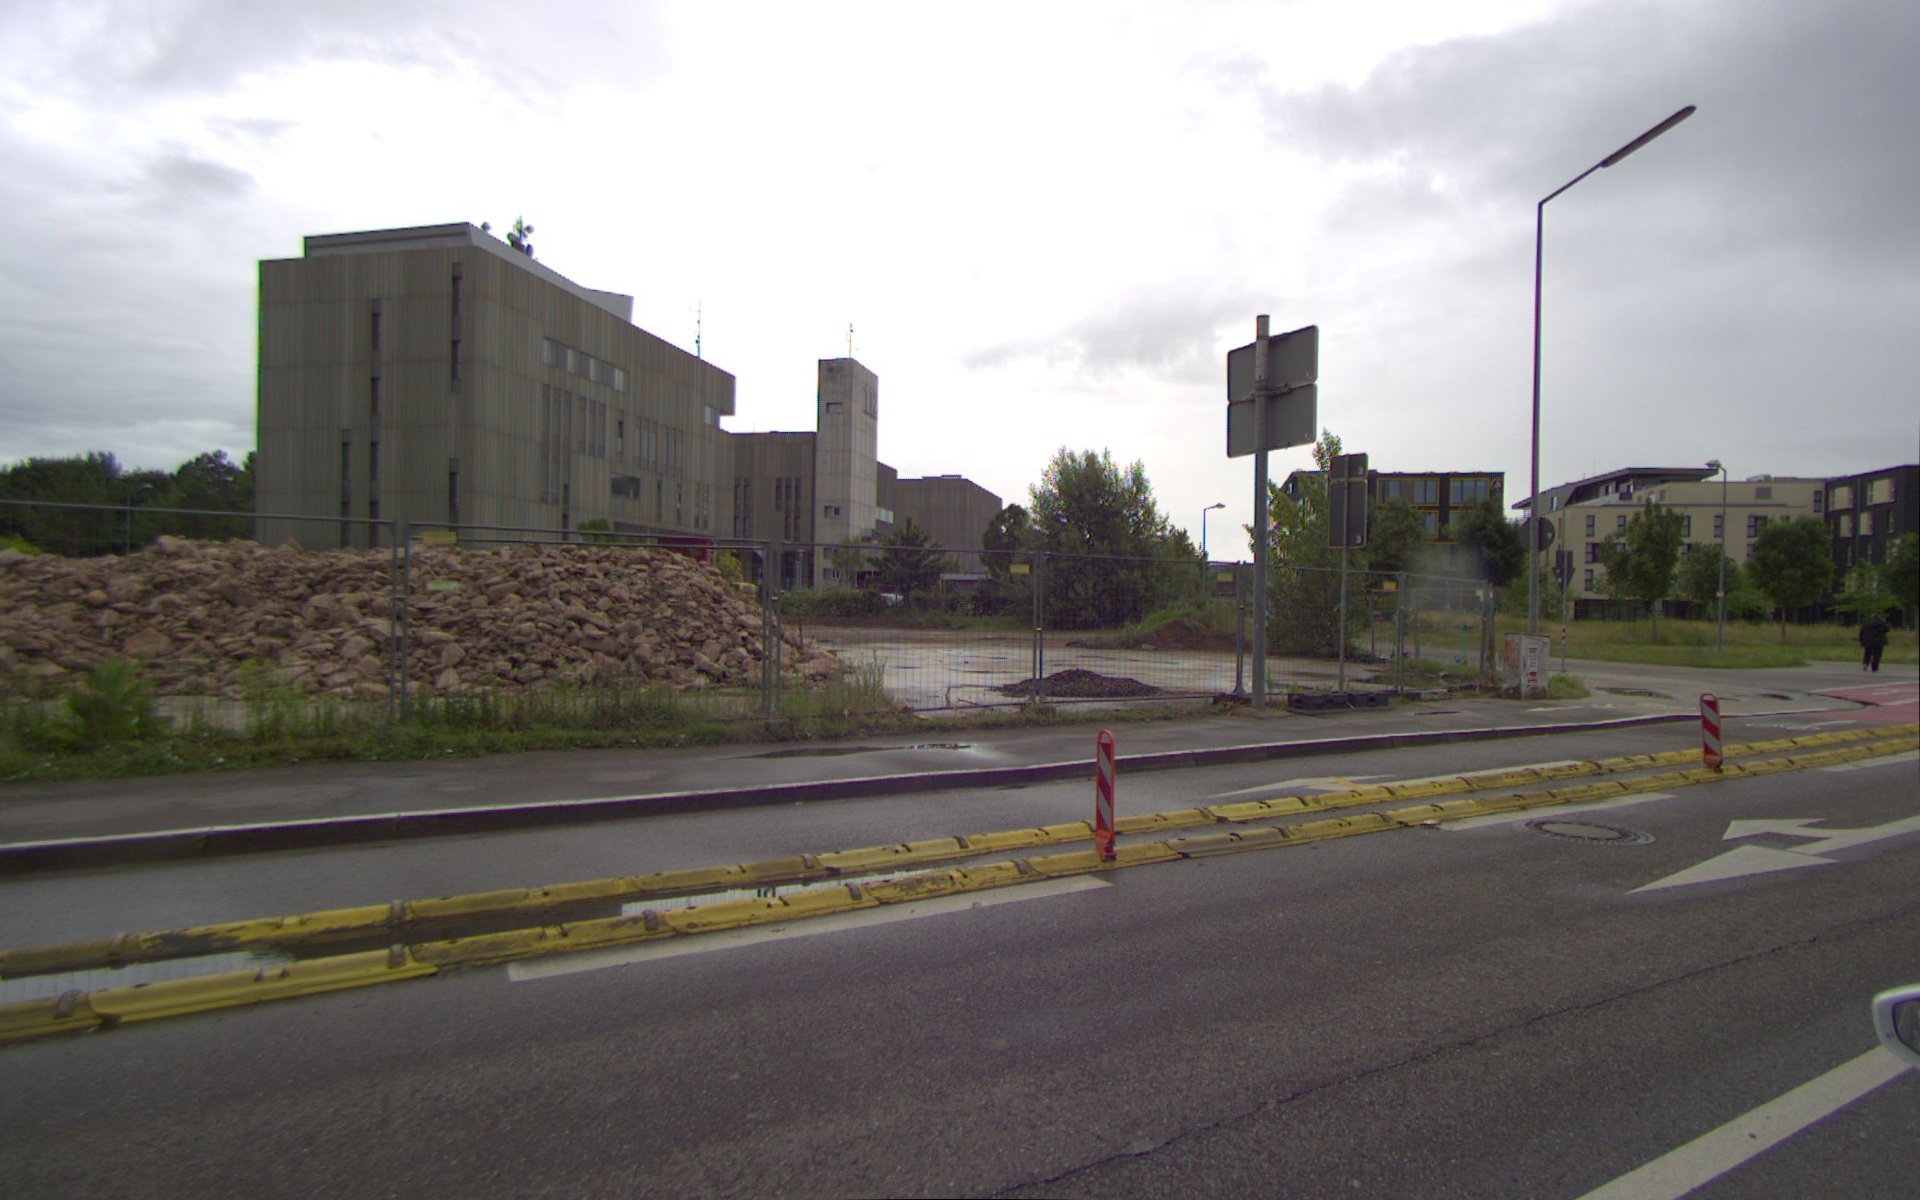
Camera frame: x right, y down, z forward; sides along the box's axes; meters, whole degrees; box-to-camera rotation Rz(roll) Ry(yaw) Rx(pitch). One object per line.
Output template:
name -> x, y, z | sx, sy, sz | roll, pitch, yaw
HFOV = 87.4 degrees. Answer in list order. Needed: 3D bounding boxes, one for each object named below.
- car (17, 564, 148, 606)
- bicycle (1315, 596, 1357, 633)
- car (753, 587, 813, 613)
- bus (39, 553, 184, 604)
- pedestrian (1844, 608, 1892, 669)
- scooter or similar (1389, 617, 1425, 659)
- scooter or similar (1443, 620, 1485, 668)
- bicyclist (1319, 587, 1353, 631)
car -> -59.745, -0.984, 68.640 | 2.349, 2.740, 6.577 | 0, 0, 14
bicycle -> 16.922, 0.614, 45.243 | 1.065, 1.605, 2.501 | 0, 0, 3
car -> -12.852, -0.015, 72.982 | 3.962, 1.805, 1.722 | 1, 1, -37
bus -> -71.548, -1.719, 85.116 | 2.679, 4.035, 9.896 | 0, 0, 11
pedestrian -> 27.554, 1.159, 30.484 | 1.065, 1.806, 0.839 | 0, 1, -33
scooter or similar -> 12.920, 1.082, 29.059 | 0.403, 1.157, 1.338 | 2, 1, 2
scooter or similar -> 13.212, 1.123, 26.366 | 0.644, 1.157, 1.904 | 2, 1, 17
bicyclist -> 16.913, 0.393, 45.203 | 1.056, 1.925, 1.403 | 0, 0, 3
